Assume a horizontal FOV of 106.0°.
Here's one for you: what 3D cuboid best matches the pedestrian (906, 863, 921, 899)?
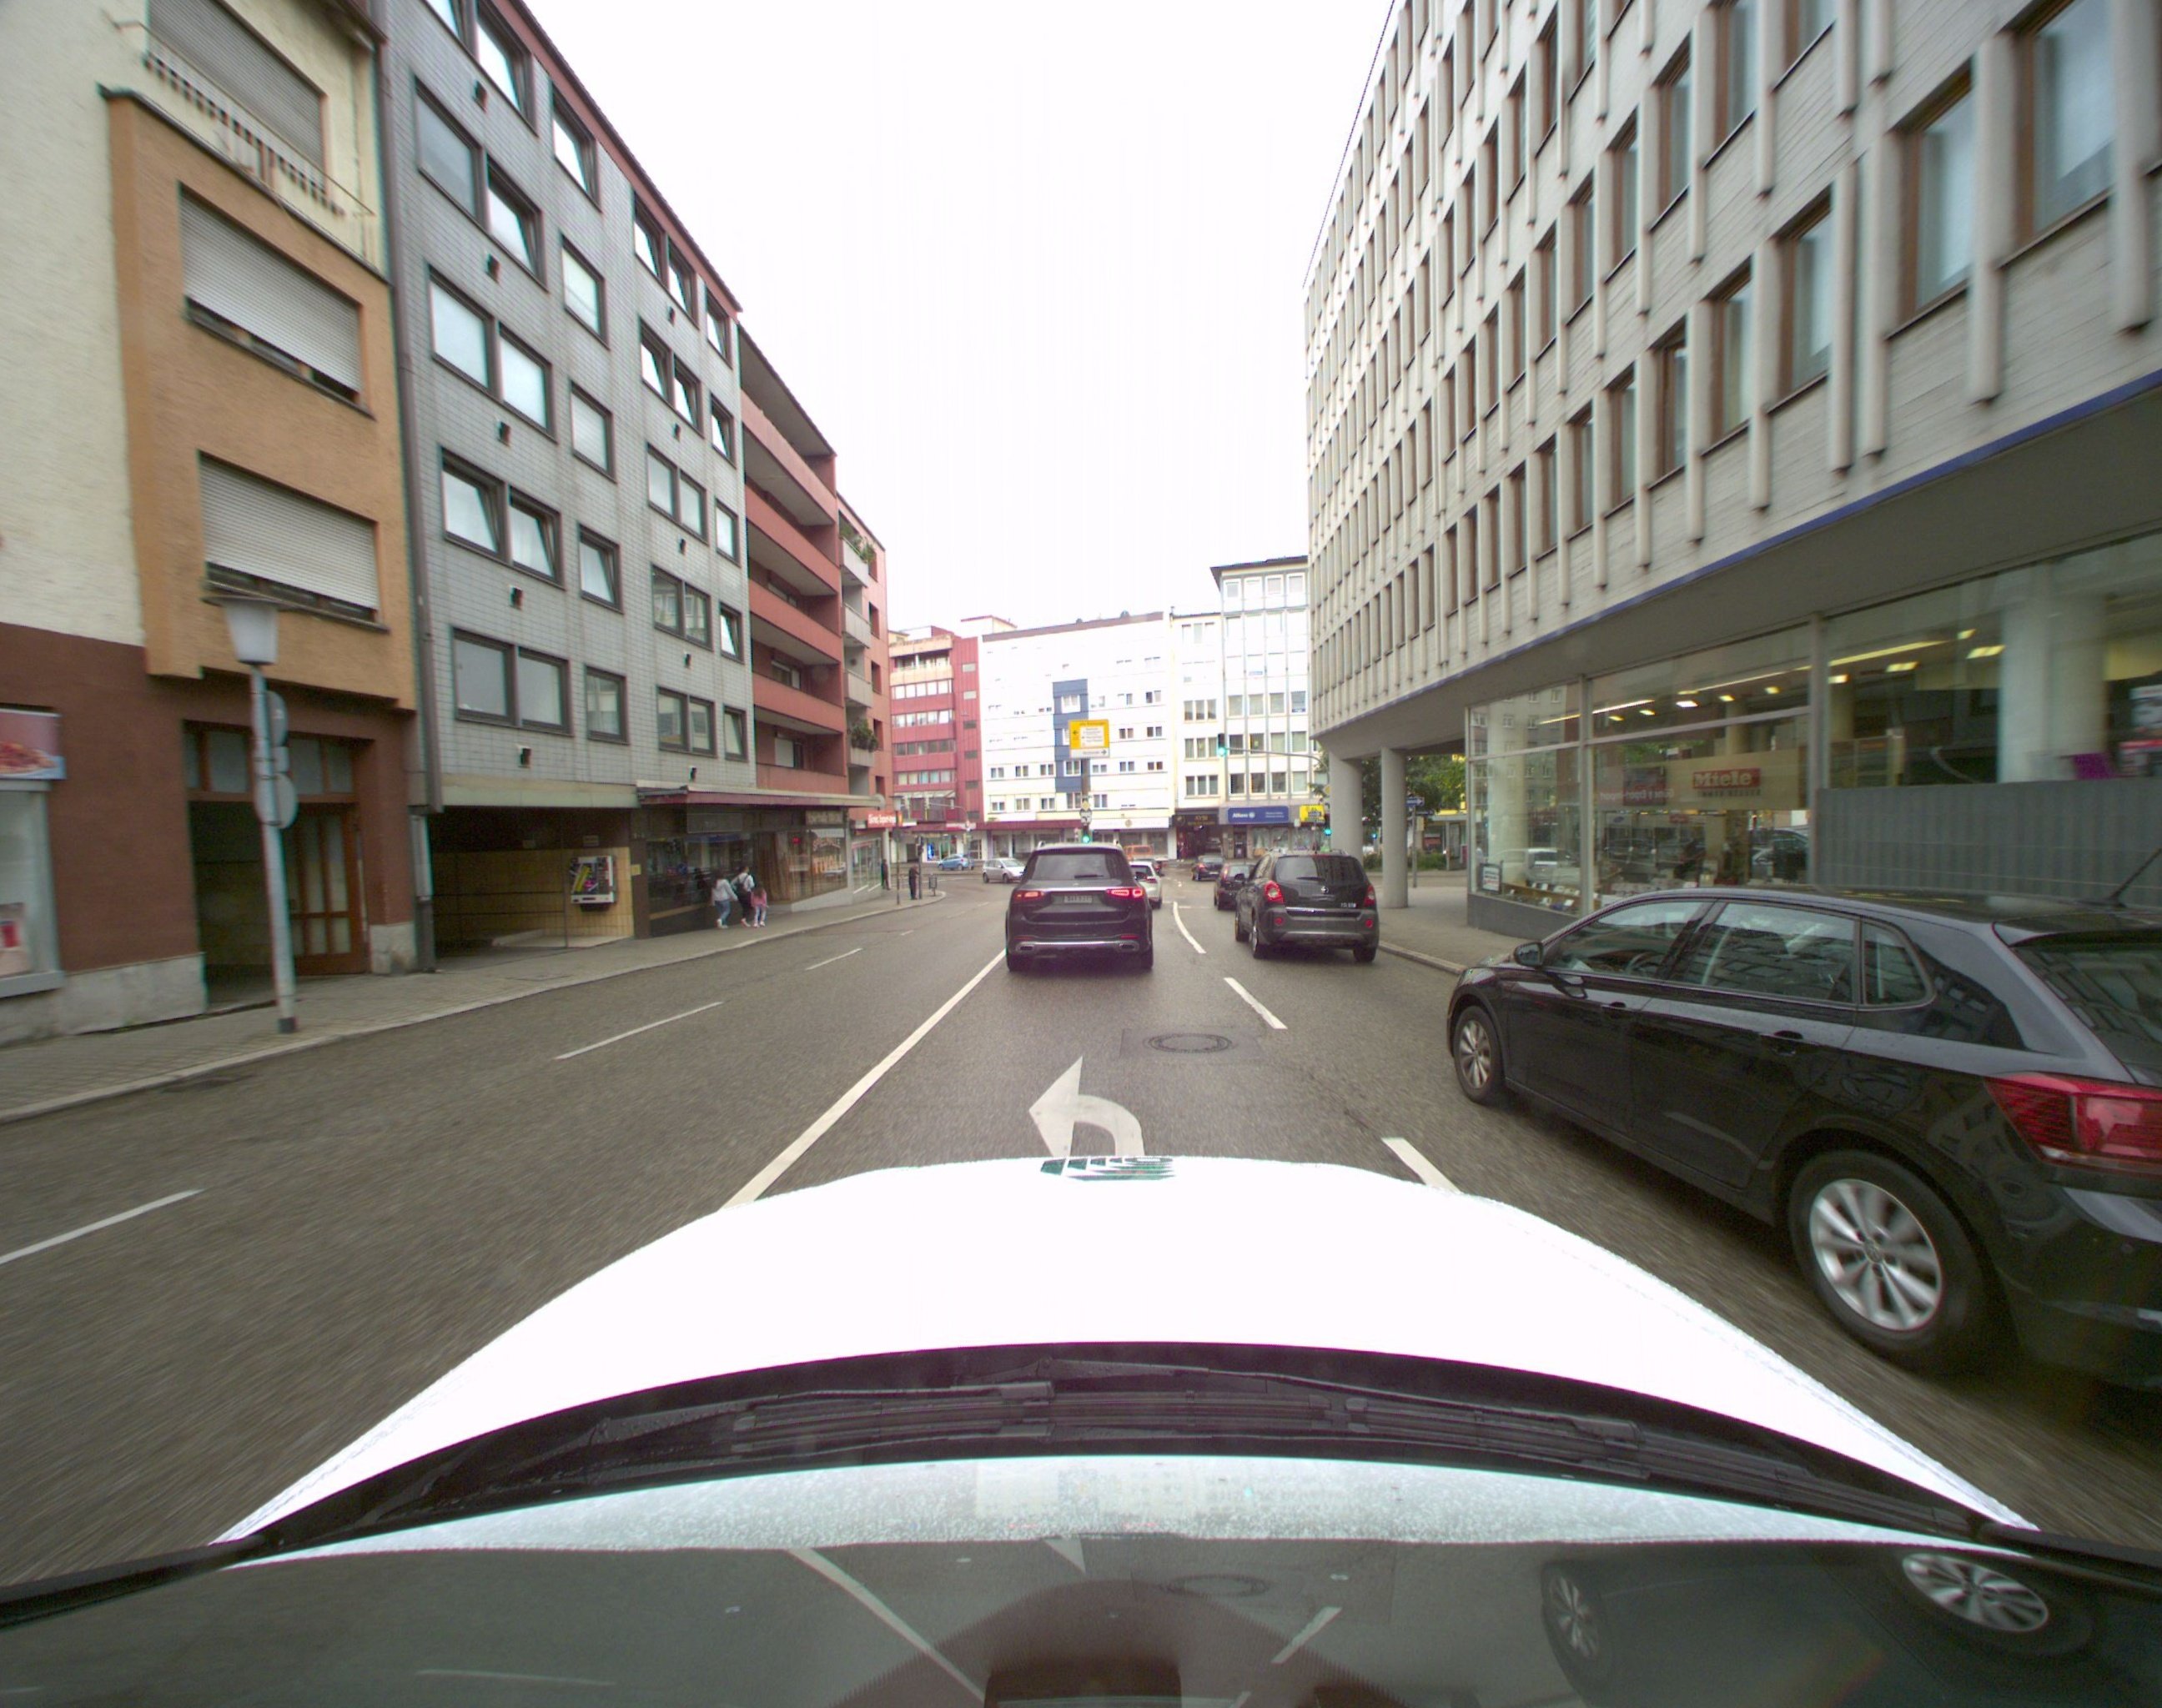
[{"bbox_3d":[-8.035,1.306,39.062,0.552,1.697,0.623,-1,0,-1],"label":"pedestrian"}]

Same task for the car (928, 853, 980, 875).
[{"bbox_3d":[-11.288,0.903,72.610,4.124,1.838,2.011,1,0,25],"label":"car"}]

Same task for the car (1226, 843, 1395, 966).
[{"bbox_3d":[3.674,0.720,13.882,1.889,1.695,4.510,2,0,4],"label":"car"}]

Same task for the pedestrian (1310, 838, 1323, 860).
[{"bbox_3d":[19.681,-0.412,68.075,1.023,1.688,0.833,-2,6,11],"label":"pedestrian"}]

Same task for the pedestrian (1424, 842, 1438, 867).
[{"bbox_3d":[26.696,0.017,62.123,0.815,1.827,0.897,1,1,29],"label":"pedestrian"}]

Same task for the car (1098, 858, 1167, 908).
[{"bbox_3d":[1.771,0.878,26.682,1.863,1.495,4.411,0,0,8],"label":"car"}]

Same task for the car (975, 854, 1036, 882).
[{"bbox_3d":[-4.952,0.921,52.941,1.750,1.593,4.125,-3,-1,-42],"label":"car"}]

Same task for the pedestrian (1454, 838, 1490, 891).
[{"bbox_3d":[13.871,0.366,28.923,0.720,1.818,0.829,-3,-1,-4],"label":"pedestrian"}]

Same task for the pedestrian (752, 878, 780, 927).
[{"bbox_3d":[-8.671,1.331,22.442,0.532,1.323,0.722,1,-1,-7],"label":"pedestrian"}]

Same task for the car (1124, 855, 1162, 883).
[{"bbox_3d":[3.537,0.840,47.019,1.986,1.486,4.239,-2,0,2],"label":"car"}]

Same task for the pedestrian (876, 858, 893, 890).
[{"bbox_3d":[-11.411,1.143,47.357,0.764,1.848,0.837,-1,0,-25],"label":"pedestrian"}]

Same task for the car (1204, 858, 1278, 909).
[{"bbox_3d":[4.921,0.855,25.556,1.759,1.397,4.005,2,0,4],"label":"car"}]

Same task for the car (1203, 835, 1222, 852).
[{"bbox_3d":[13.541,-1.088,83.638,1.785,1.670,4.012,-2,0,11],"label":"car"}]

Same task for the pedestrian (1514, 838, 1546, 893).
[{"bbox_3d":[14.348,0.372,26.029,0.715,1.689,0.834,-4,-1,23],"label":"pedestrian"}]

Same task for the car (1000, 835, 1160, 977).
[{"bbox_3d":[0.028,0.671,12.711,2.032,1.799,4.663,0,0,1],"label":"car"}]

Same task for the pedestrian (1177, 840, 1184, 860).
[{"bbox_3d":[8.795,-0.350,72.234,0.560,1.688,0.758,-2,6,8],"label":"pedestrian"}]

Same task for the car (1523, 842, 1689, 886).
[{"bbox_3d":[19.089,0.378,29.755,4.791,1.494,1.868,-2,0,43],"label":"car"}]

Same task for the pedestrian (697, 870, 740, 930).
[{"bbox_3d":[-9.630,1.213,21.667,0.826,1.561,0.722,1,-1,-7],"label":"pedestrian"}]

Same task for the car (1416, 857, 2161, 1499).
[{"bbox_3d":[3.255,0.778,3.895,1.682,1.477,4.000,2,0,1],"label":"car"}]

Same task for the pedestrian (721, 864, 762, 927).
[{"bbox_3d":[-9.339,1.135,22.437,0.826,1.689,0.722,1,-1,-7],"label":"pedestrian"}]

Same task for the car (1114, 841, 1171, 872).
[{"bbox_3d":[4.655,0.210,62.704,2.251,2.228,5.390,0,-1,-21],"label":"car"}]

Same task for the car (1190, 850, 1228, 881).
[{"bbox_3d":[7.352,0.671,47.224,1.815,1.658,4.500,0,-1,4],"label":"car"}]
